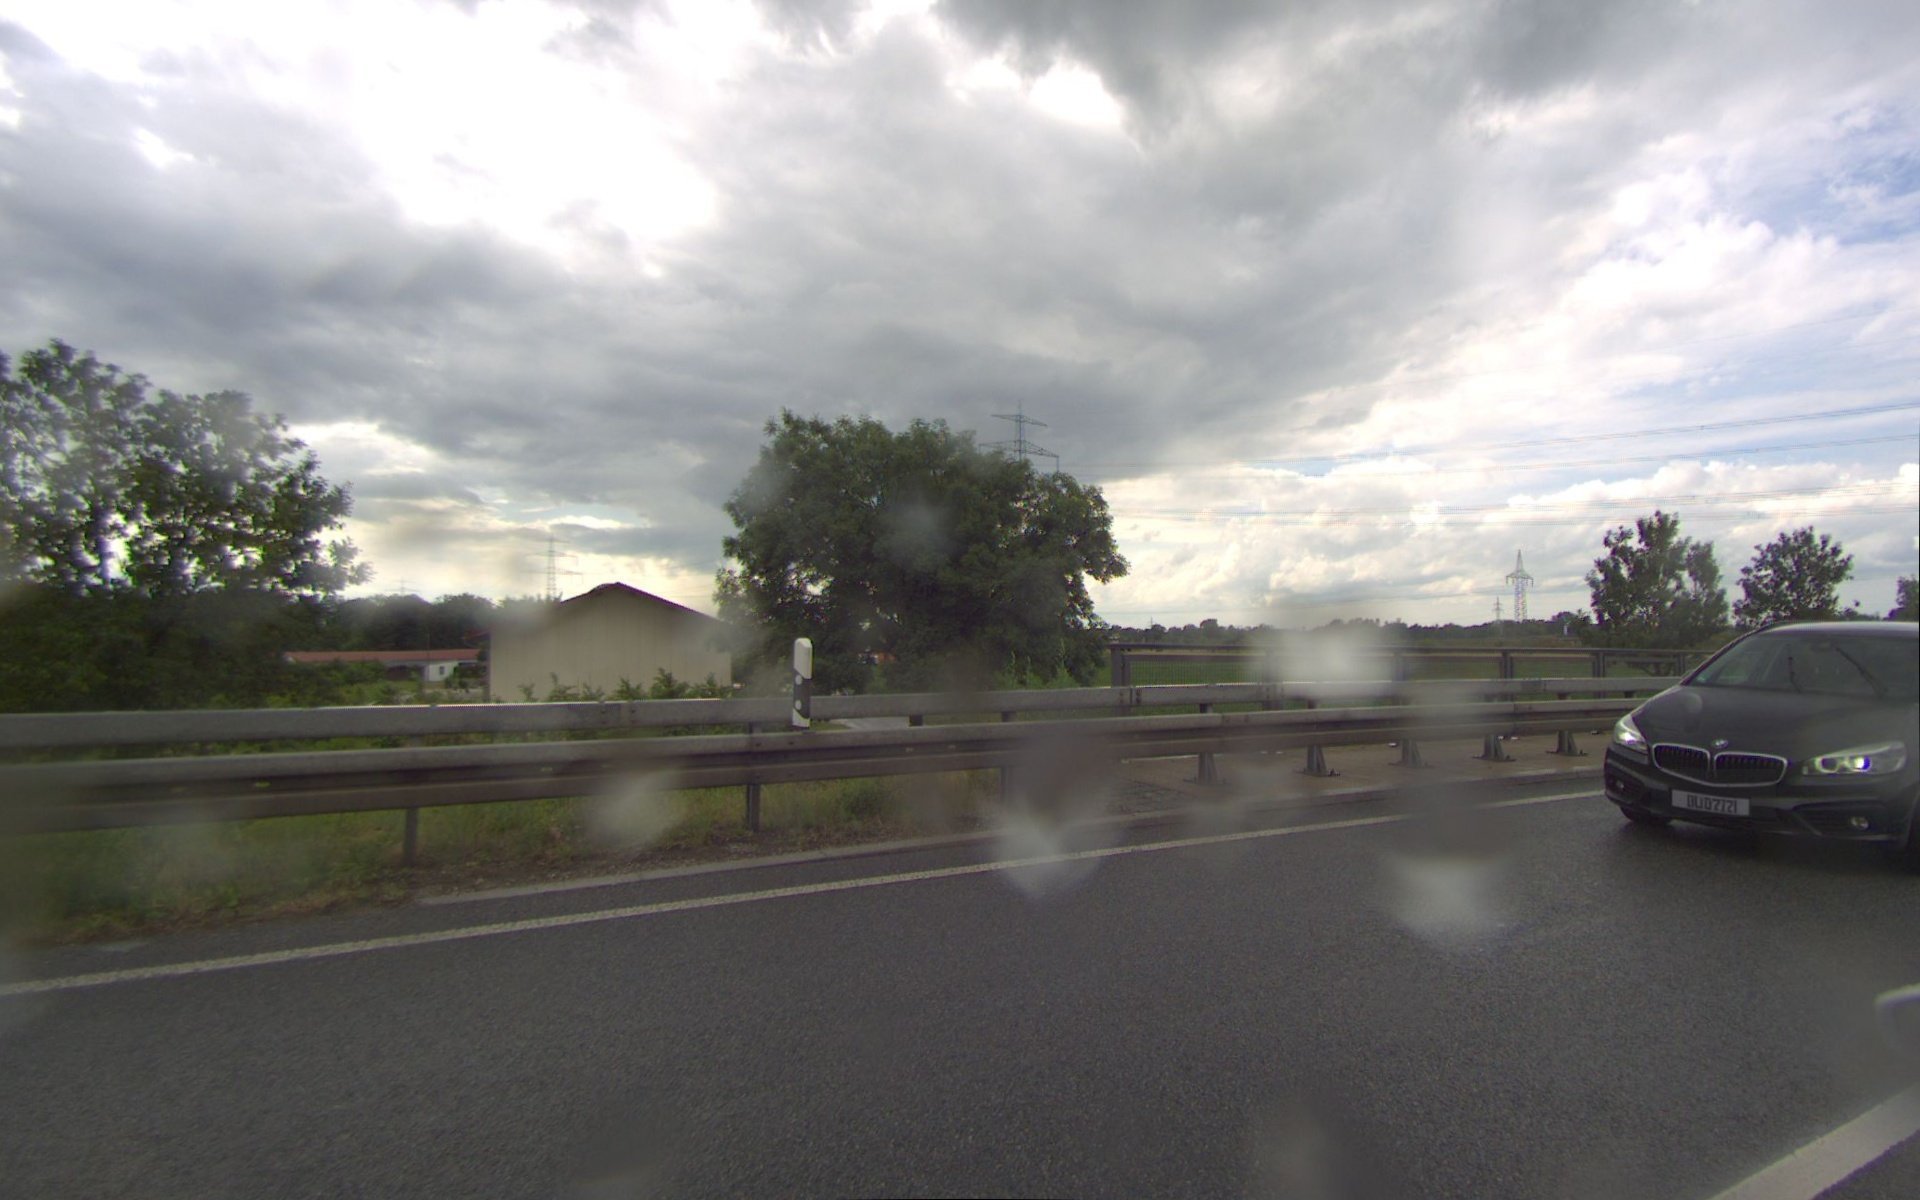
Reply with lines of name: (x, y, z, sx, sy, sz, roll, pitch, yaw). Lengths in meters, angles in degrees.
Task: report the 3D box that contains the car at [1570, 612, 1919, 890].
car: (6.725, 0.924, 7.554, 3.973, 1.562, 1.892, 2, 0, -28)
